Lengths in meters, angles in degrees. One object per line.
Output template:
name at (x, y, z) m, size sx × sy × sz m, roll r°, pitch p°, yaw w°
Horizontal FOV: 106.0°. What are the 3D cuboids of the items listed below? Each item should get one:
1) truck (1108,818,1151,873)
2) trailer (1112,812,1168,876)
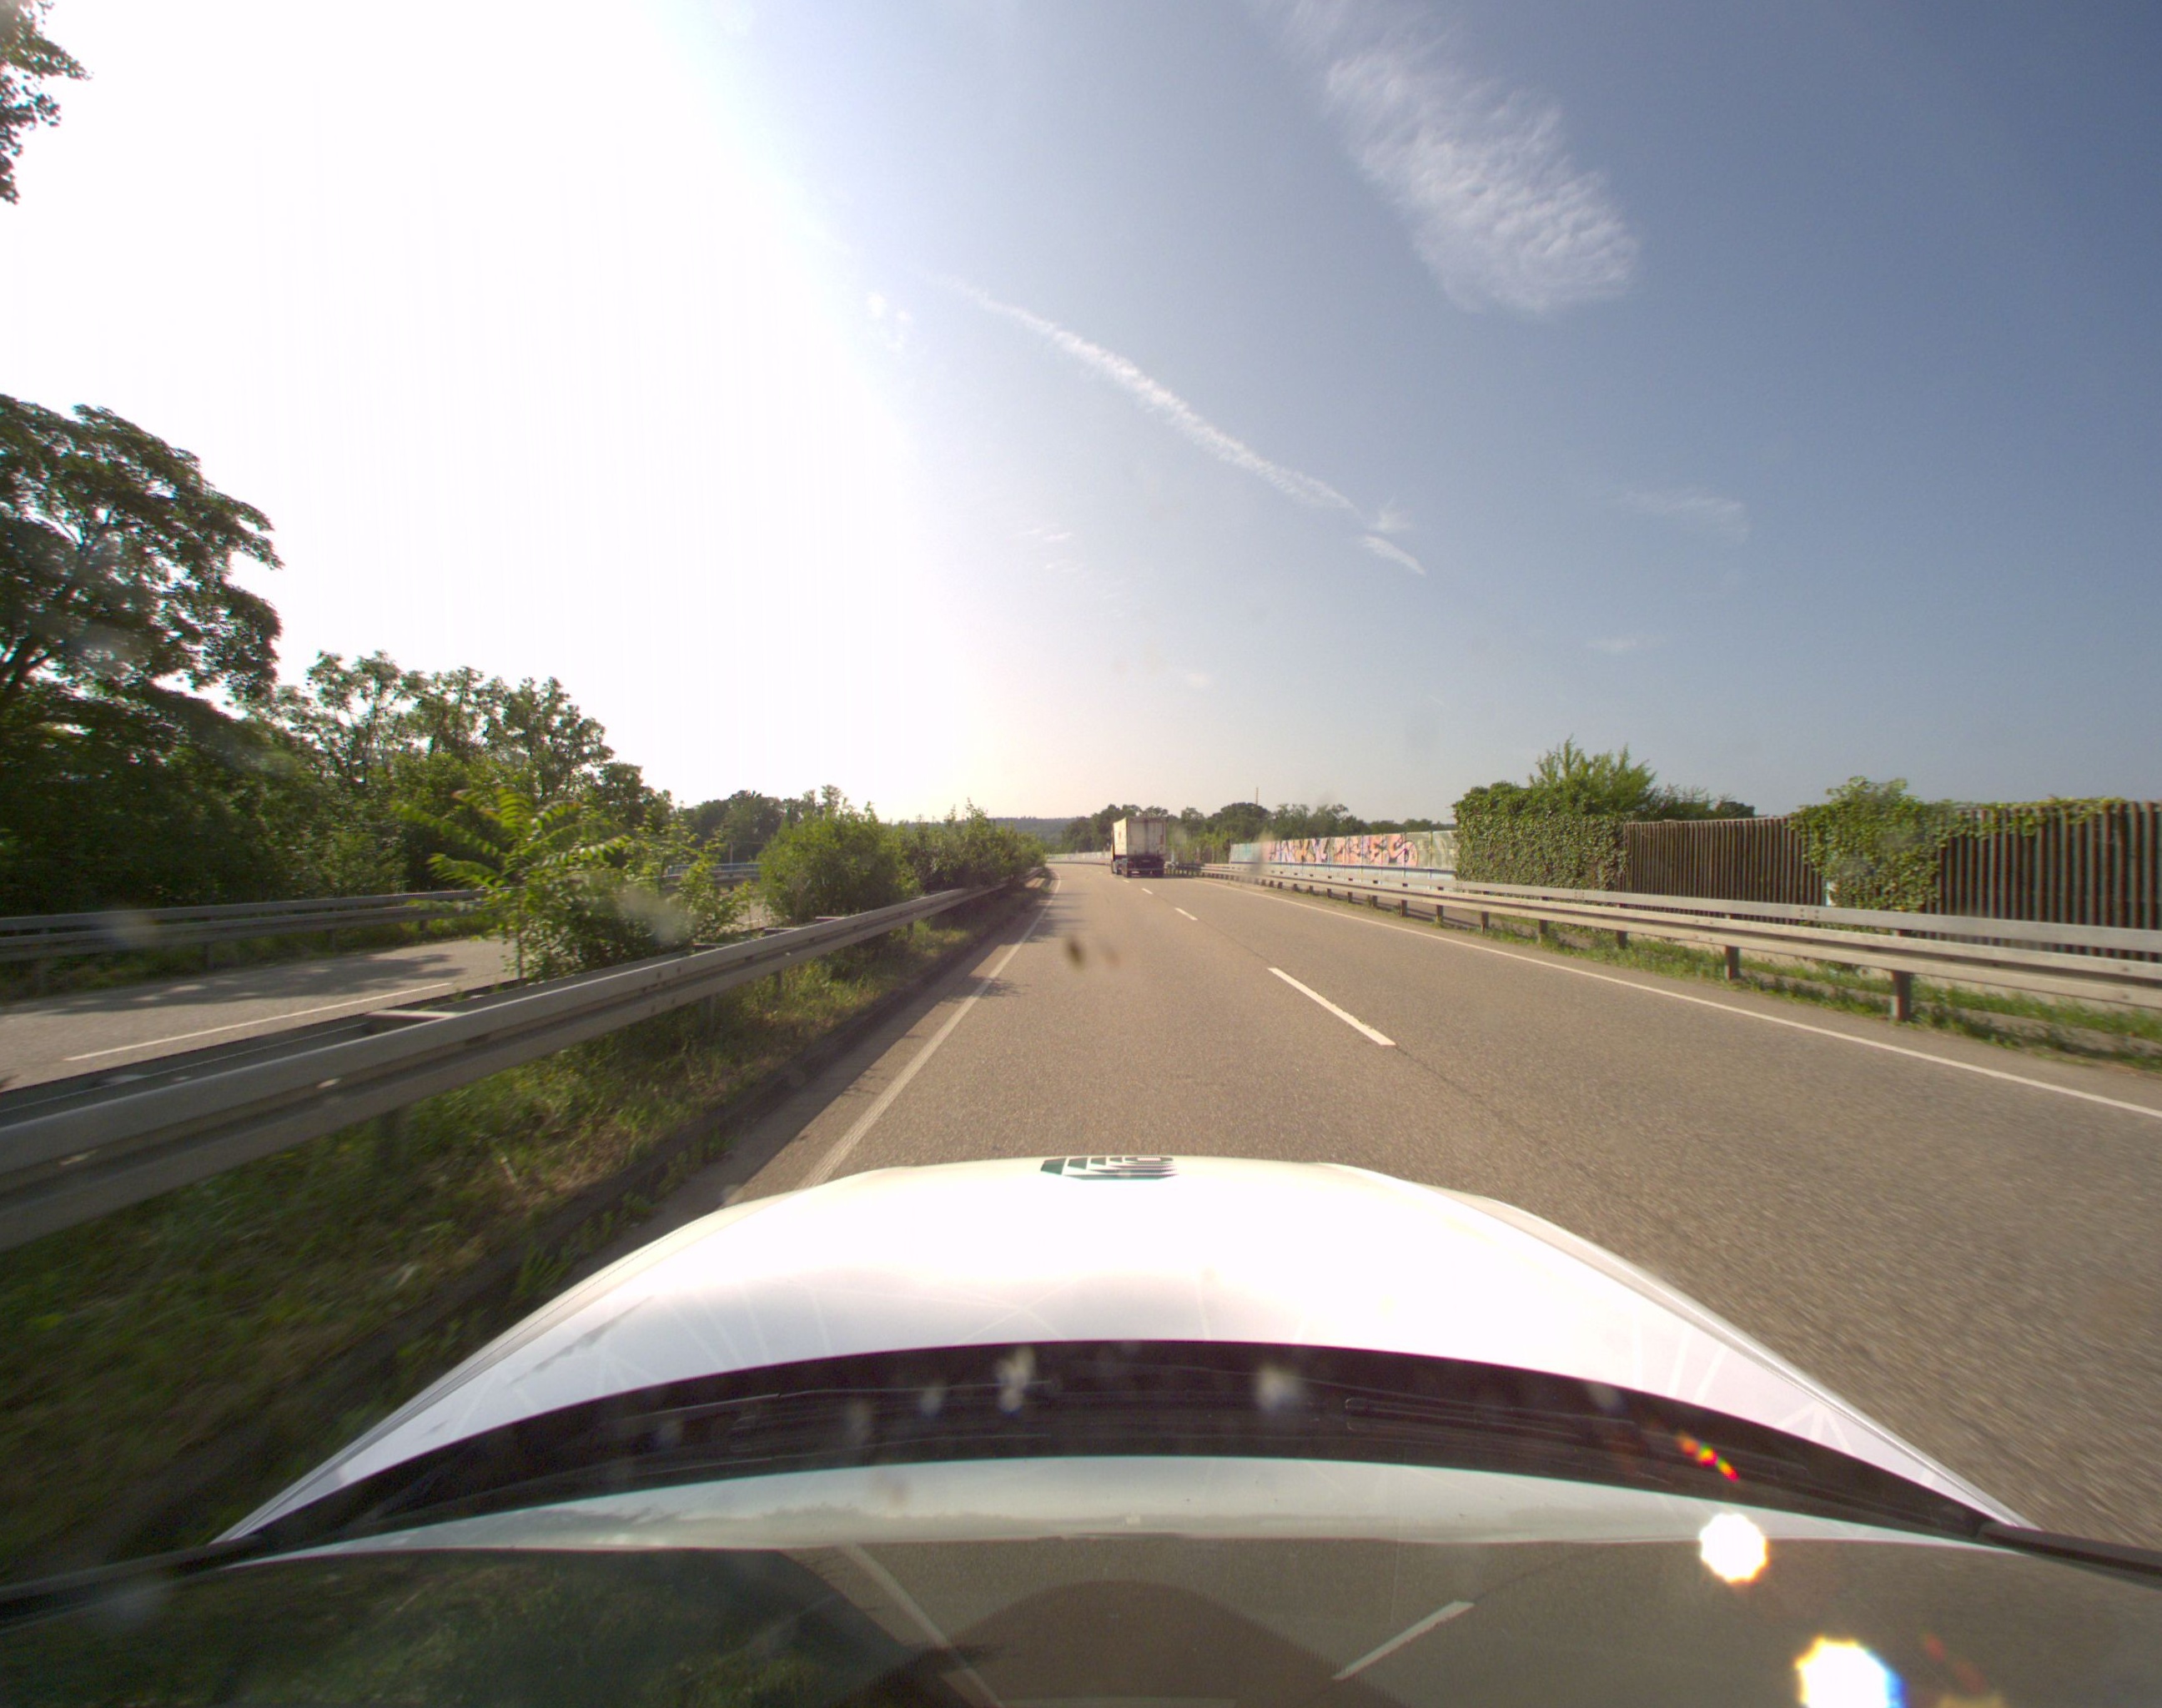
truck at (3.548, -0.620, 60.897) m, size 2.652 × 3.896 × 5.642 m, roll 0°, pitch 0°, yaw -3°
trailer at (3.832, -0.603, 55.082) m, size 2.673 × 3.907 × 9.663 m, roll -1°, pitch 0°, yaw -3°
